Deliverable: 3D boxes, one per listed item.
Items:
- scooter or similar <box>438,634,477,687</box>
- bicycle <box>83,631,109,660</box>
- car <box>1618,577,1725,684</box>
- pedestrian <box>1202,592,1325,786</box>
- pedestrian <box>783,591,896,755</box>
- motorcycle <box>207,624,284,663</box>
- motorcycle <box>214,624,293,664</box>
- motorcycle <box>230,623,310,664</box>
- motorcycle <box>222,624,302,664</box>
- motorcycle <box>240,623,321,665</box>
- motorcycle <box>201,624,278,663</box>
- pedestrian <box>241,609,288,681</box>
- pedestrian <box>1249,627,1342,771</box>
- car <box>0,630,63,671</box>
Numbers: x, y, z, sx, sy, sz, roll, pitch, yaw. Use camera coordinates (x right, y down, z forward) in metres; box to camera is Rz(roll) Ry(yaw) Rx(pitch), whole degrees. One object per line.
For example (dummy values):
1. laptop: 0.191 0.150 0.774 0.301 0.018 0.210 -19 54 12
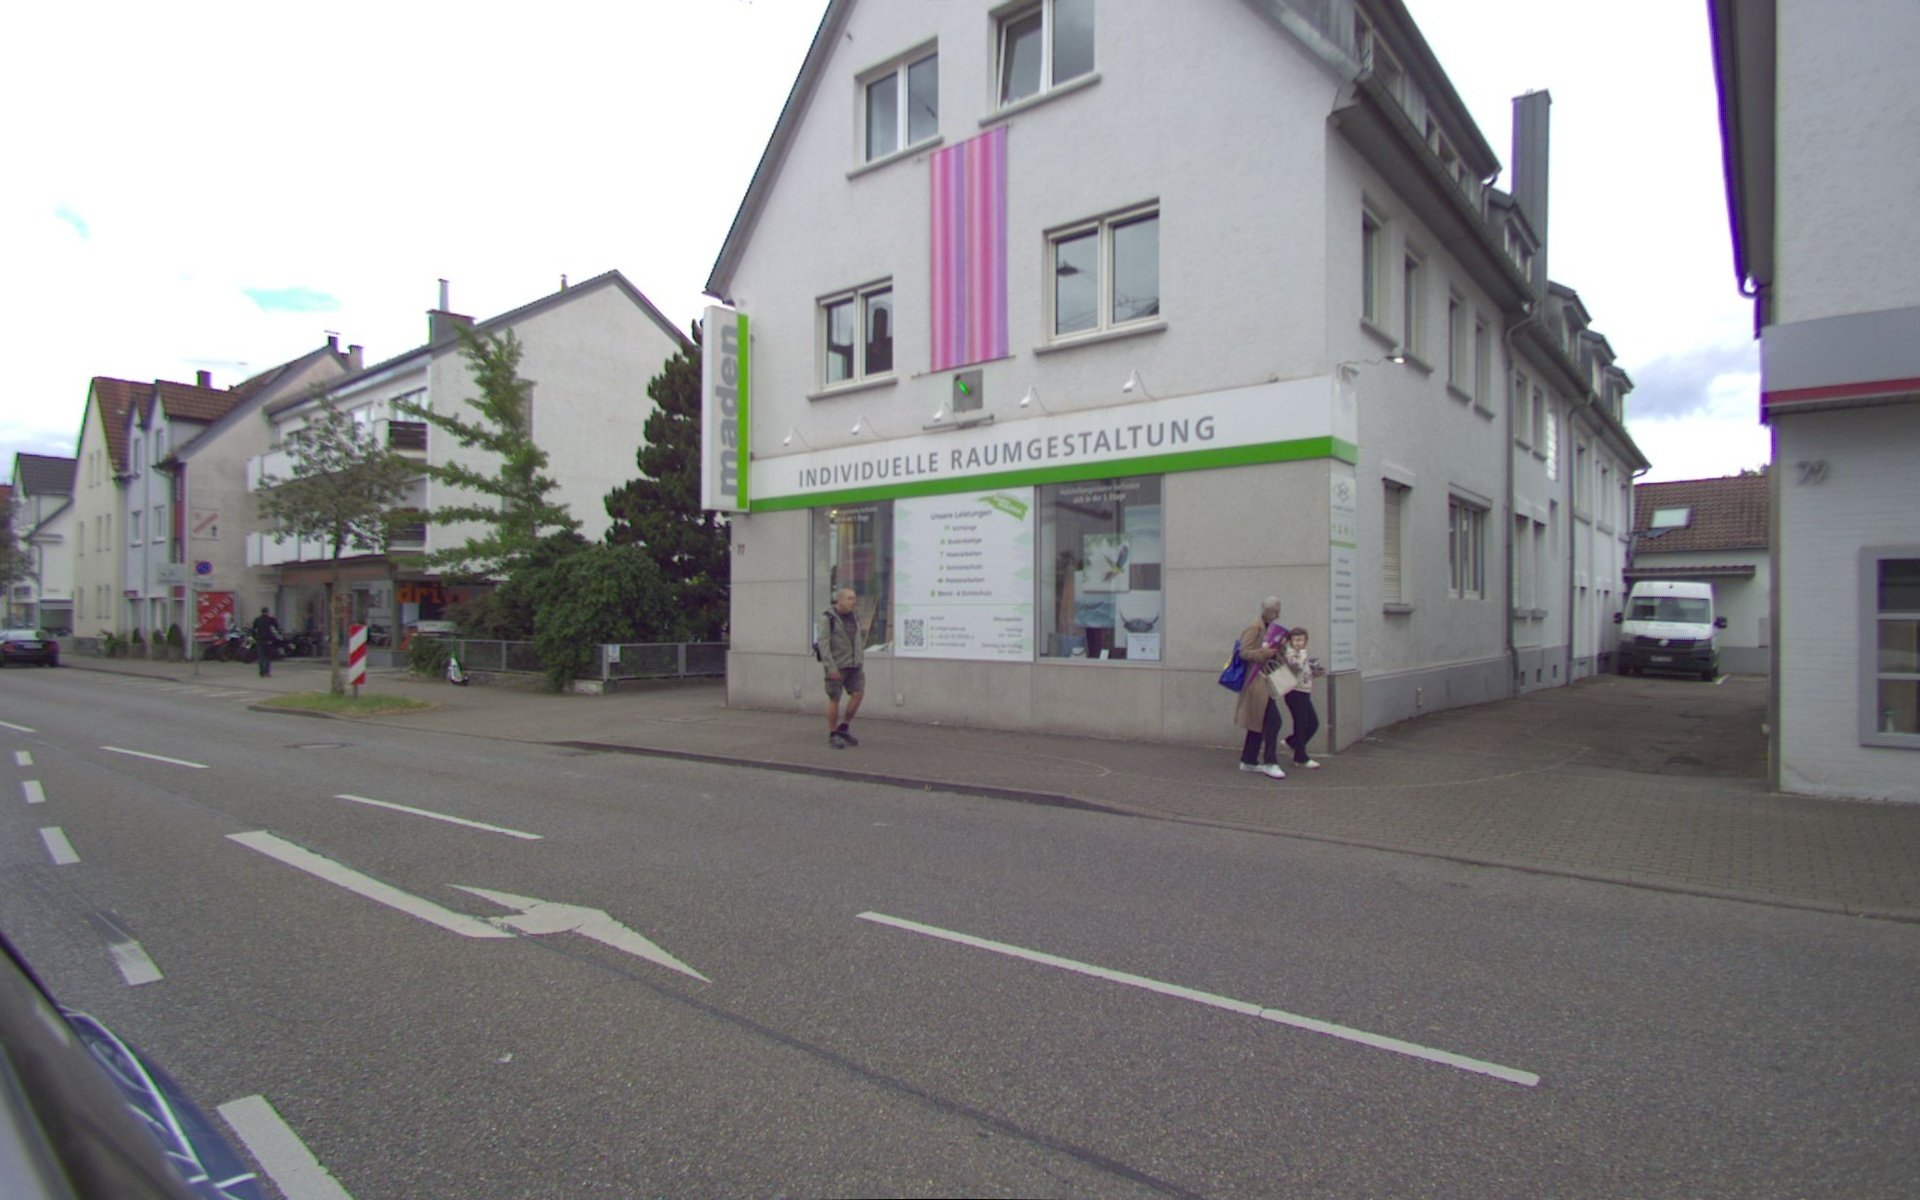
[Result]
1. scooter or similar: -11.038 1.317 22.205 1.179 1.120 0.336 -1 -1 41
2. bicycle: -36.702 1.919 42.977 2.022 1.205 0.509 -1 -1 39
3. car: 19.121 0.712 27.076 1.957 2.527 5.918 2 1 38
4. pedestrian: 2.765 0.769 9.205 0.792 1.629 0.744 -1 2 40
5. pedestrian: -1.377 0.793 11.543 1.019 1.756 0.744 -1 1 40
6. motorcycle: -26.018 1.570 36.888 0.612 1.275 2.204 -1 1 38
7. motorcycle: -25.310 1.560 36.281 0.698 1.275 2.204 -1 1 38
8. motorcycle: -24.038 1.503 35.312 0.612 1.275 2.204 -1 1 38
9. motorcycle: -24.655 1.543 35.794 0.612 1.275 2.204 -1 1 38
10. motorcycle: -23.334 1.501 34.783 0.612 1.275 2.204 -1 1 38
11. motorcycle: -26.544 1.581 37.303 0.612 1.275 2.204 -1 1 38
12. pedestrian: -18.950 1.209 27.584 1.019 1.863 0.744 -1 2 40
13. pedestrian: 3.220 0.917 9.709 0.654 1.289 0.593 -1 0 40
14. car: -35.089 1.846 37.733 4.337 1.428 1.770 -1 -2 39
